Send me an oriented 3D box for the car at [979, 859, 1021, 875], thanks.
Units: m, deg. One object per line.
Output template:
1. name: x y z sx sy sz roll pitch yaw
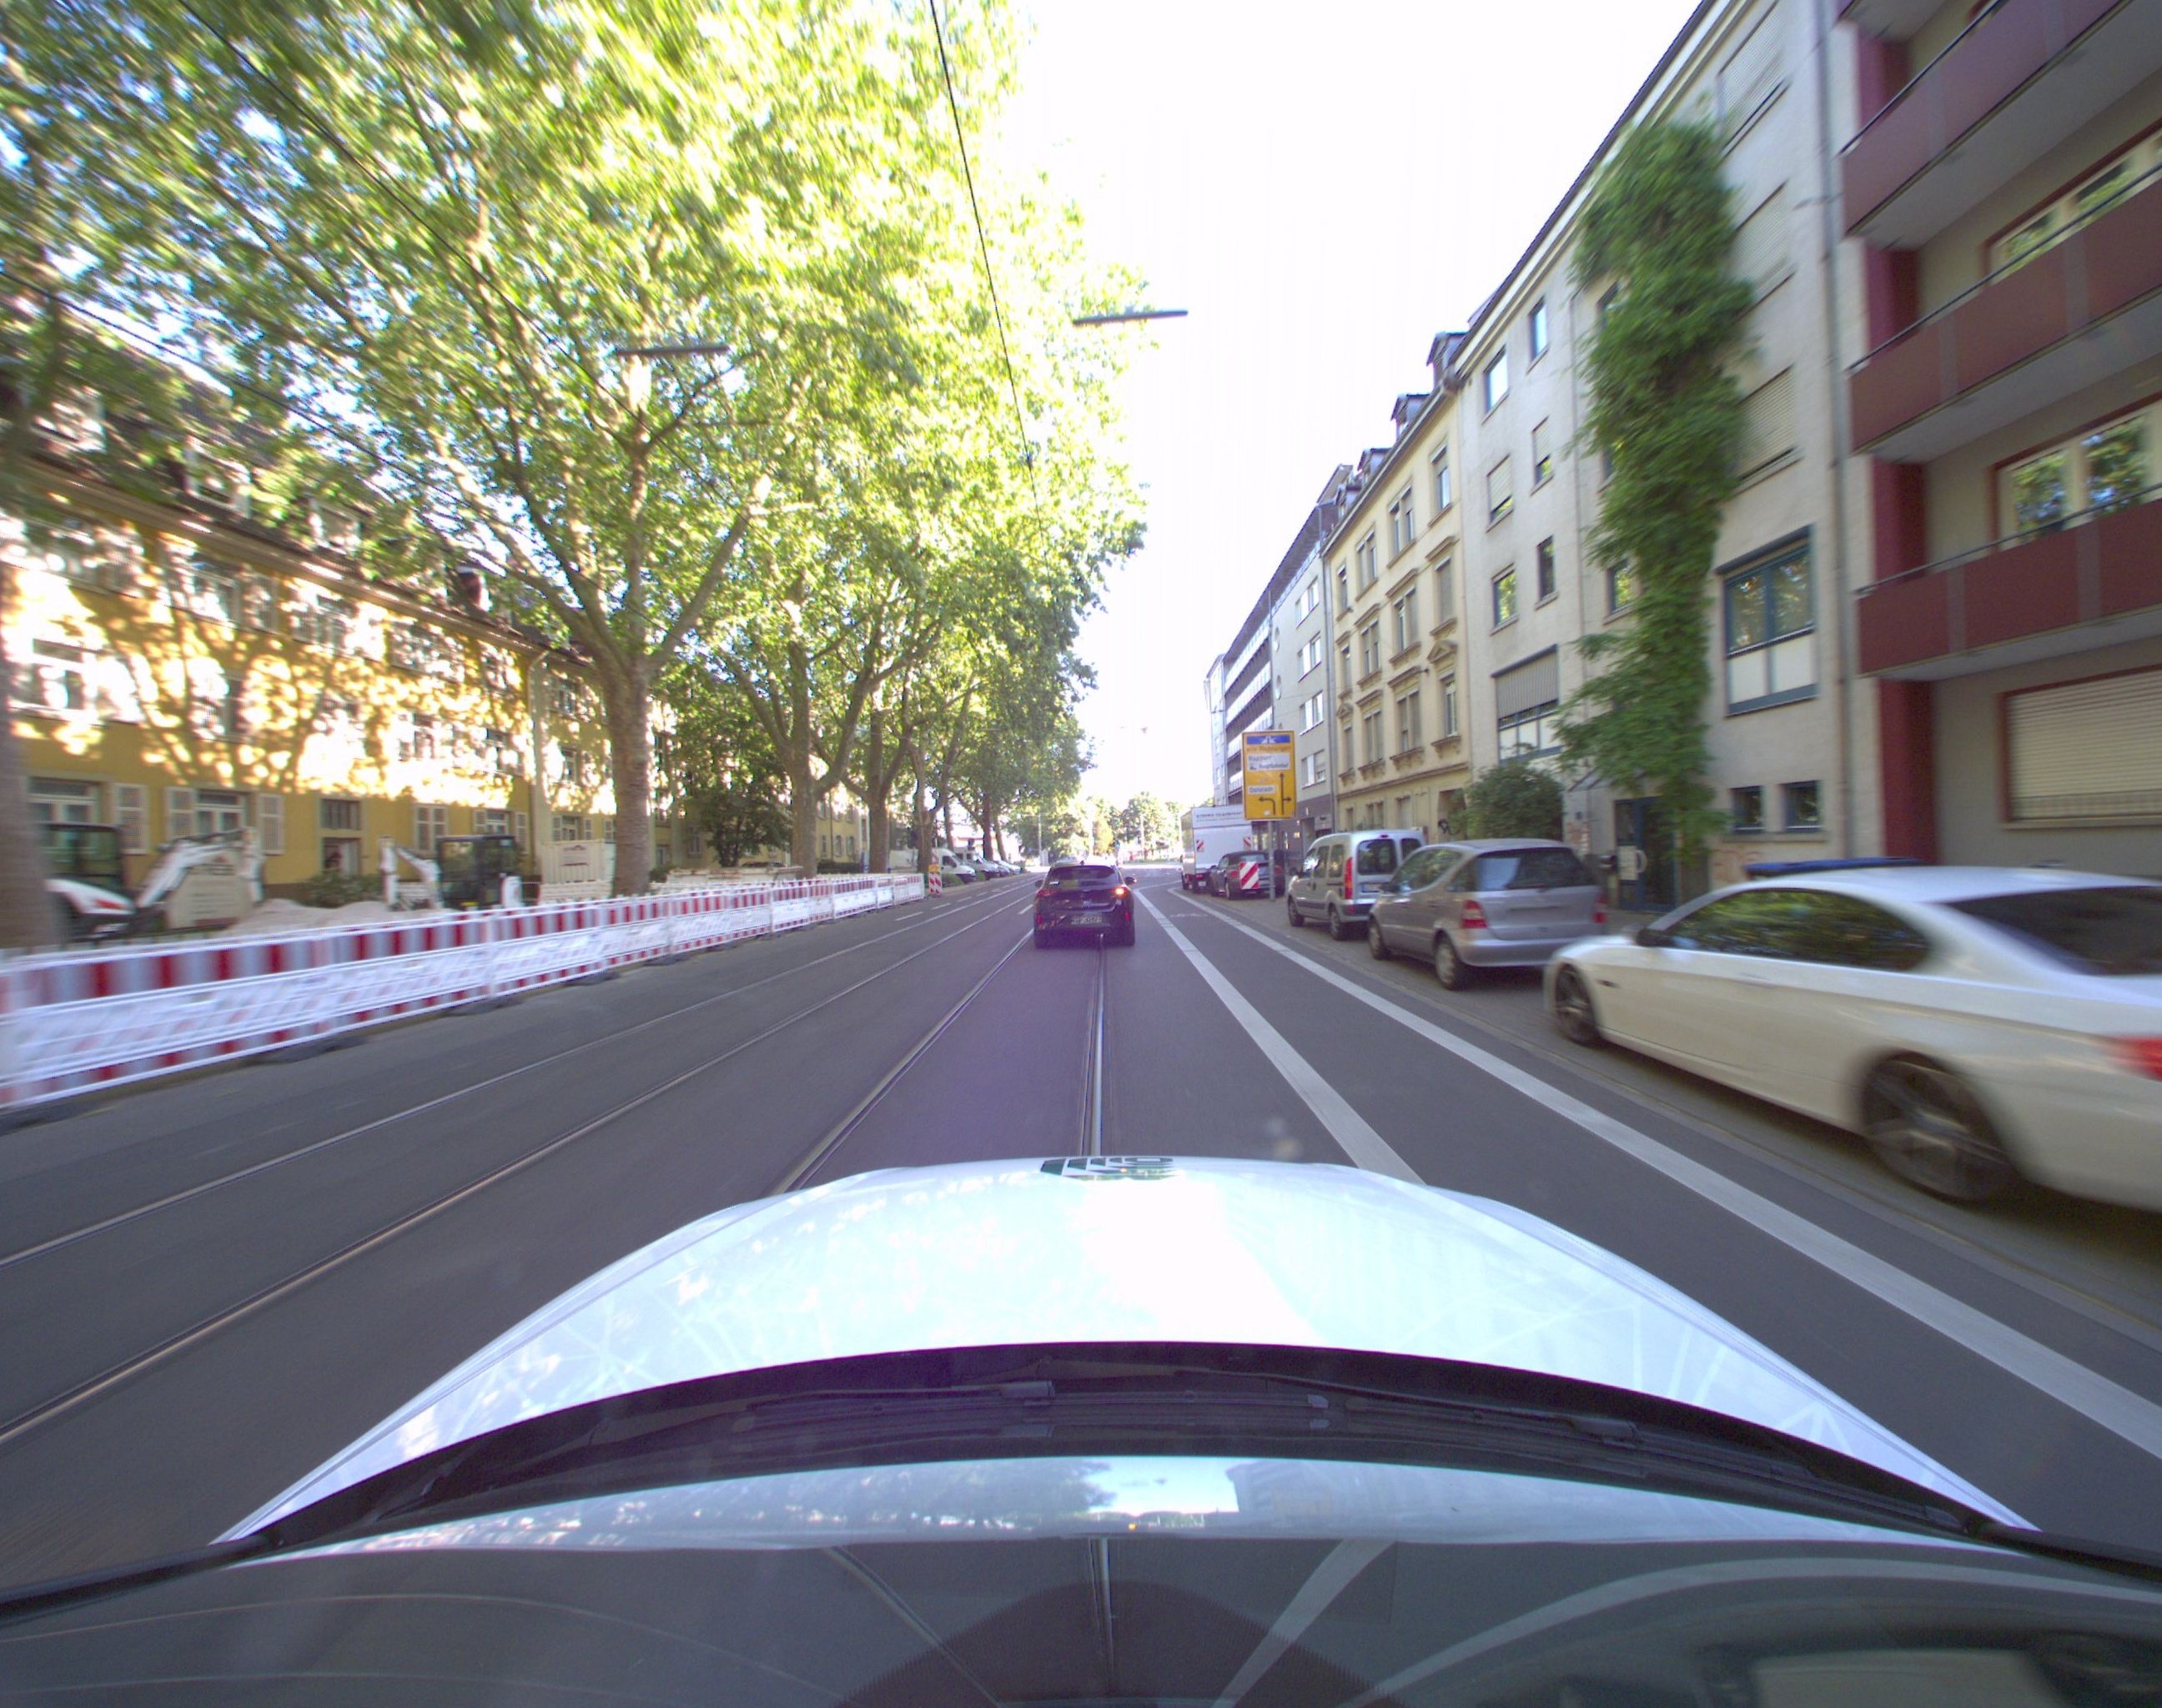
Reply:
1. car: -8.187 1.354 82.267 3.971 1.515 1.651 -1 0 2

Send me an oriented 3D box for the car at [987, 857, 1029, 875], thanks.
1. car: -7.557 1.236 84.996 4.157 1.671 1.963 -2 0 -2

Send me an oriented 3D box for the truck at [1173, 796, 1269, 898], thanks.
1. truck: 5.260 -0.253 31.909 2.528 3.338 7.199 -5 0 2

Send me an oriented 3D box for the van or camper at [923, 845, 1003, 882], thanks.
1. van or camper: -9.061 0.737 62.677 5.702 2.644 2.270 -1 0 2

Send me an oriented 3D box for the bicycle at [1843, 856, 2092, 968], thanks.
1. bicycle: 9.321 0.603 8.609 1.884 1.029 0.477 -4 0 6

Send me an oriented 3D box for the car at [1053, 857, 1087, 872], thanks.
1. car: -1.514 1.434 110.594 2.011 1.695 4.683 -4 0 -41

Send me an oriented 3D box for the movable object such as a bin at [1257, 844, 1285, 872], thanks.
1. movable object such as a bin: 10.836 0.249 46.504 1.182 1.484 1.596 -4 -1 2

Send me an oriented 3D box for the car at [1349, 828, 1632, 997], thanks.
1. car: 4.639 0.572 9.845 1.653 1.580 3.591 -3 0 2

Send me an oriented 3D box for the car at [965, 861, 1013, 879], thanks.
1. car: -8.221 1.411 73.056 3.971 1.515 1.651 -1 0 2

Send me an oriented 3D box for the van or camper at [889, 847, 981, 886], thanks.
1. van or camper: -9.516 0.828 53.347 5.475 2.379 2.273 -1 0 5

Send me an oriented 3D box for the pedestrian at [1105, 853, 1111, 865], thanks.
1. pedestrian: 4.218 0.770 128.329 0.587 1.853 0.611 -1 -1 -44

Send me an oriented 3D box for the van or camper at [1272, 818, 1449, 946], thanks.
1. van or camper: 4.827 0.421 14.726 1.663 1.882 4.210 -3 0 0

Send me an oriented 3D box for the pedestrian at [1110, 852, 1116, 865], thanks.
1. pedestrian: 5.014 0.708 128.940 0.651 1.932 0.613 -2 -1 33

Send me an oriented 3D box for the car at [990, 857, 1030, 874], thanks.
1. car: -7.637 1.235 87.880 4.157 1.671 1.963 -3 0 -2

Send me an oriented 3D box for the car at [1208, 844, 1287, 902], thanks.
1. car: 5.199 0.548 25.937 1.724 1.557 4.154 -5 0 2

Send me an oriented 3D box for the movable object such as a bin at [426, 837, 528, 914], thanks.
1. movable object such as a bin: -13.505 0.466 18.274 1.093 1.645 1.560 -1 0 2

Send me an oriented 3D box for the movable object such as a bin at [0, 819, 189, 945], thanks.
1. movable object such as a bin: -16.317 0.433 13.257 1.328 1.868 2.008 -1 0 2

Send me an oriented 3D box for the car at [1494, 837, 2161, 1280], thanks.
1. car: 4.489 0.673 4.861 1.653 1.399 4.741 -4 0 1

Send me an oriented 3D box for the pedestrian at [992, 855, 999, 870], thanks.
1. pedestrian: -13.078 1.282 124.376 0.824 2.220 0.890 -1 -1 -33

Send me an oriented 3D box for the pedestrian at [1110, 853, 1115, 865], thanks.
1. pedestrian: 5.109 0.763 130.658 0.585 1.853 0.613 -1 -1 -24

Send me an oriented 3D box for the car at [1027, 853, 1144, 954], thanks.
1. car: 0.126 0.772 14.648 1.775 1.496 4.001 -2 0 1

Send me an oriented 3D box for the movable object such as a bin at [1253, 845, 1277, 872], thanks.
1. movable object such as a bin: 10.918 0.257 48.377 1.106 1.484 1.388 -4 -1 2

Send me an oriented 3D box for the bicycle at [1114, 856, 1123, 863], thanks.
1. bicycle: 5.618 0.845 122.405 0.782 0.992 2.254 -1 0 18
